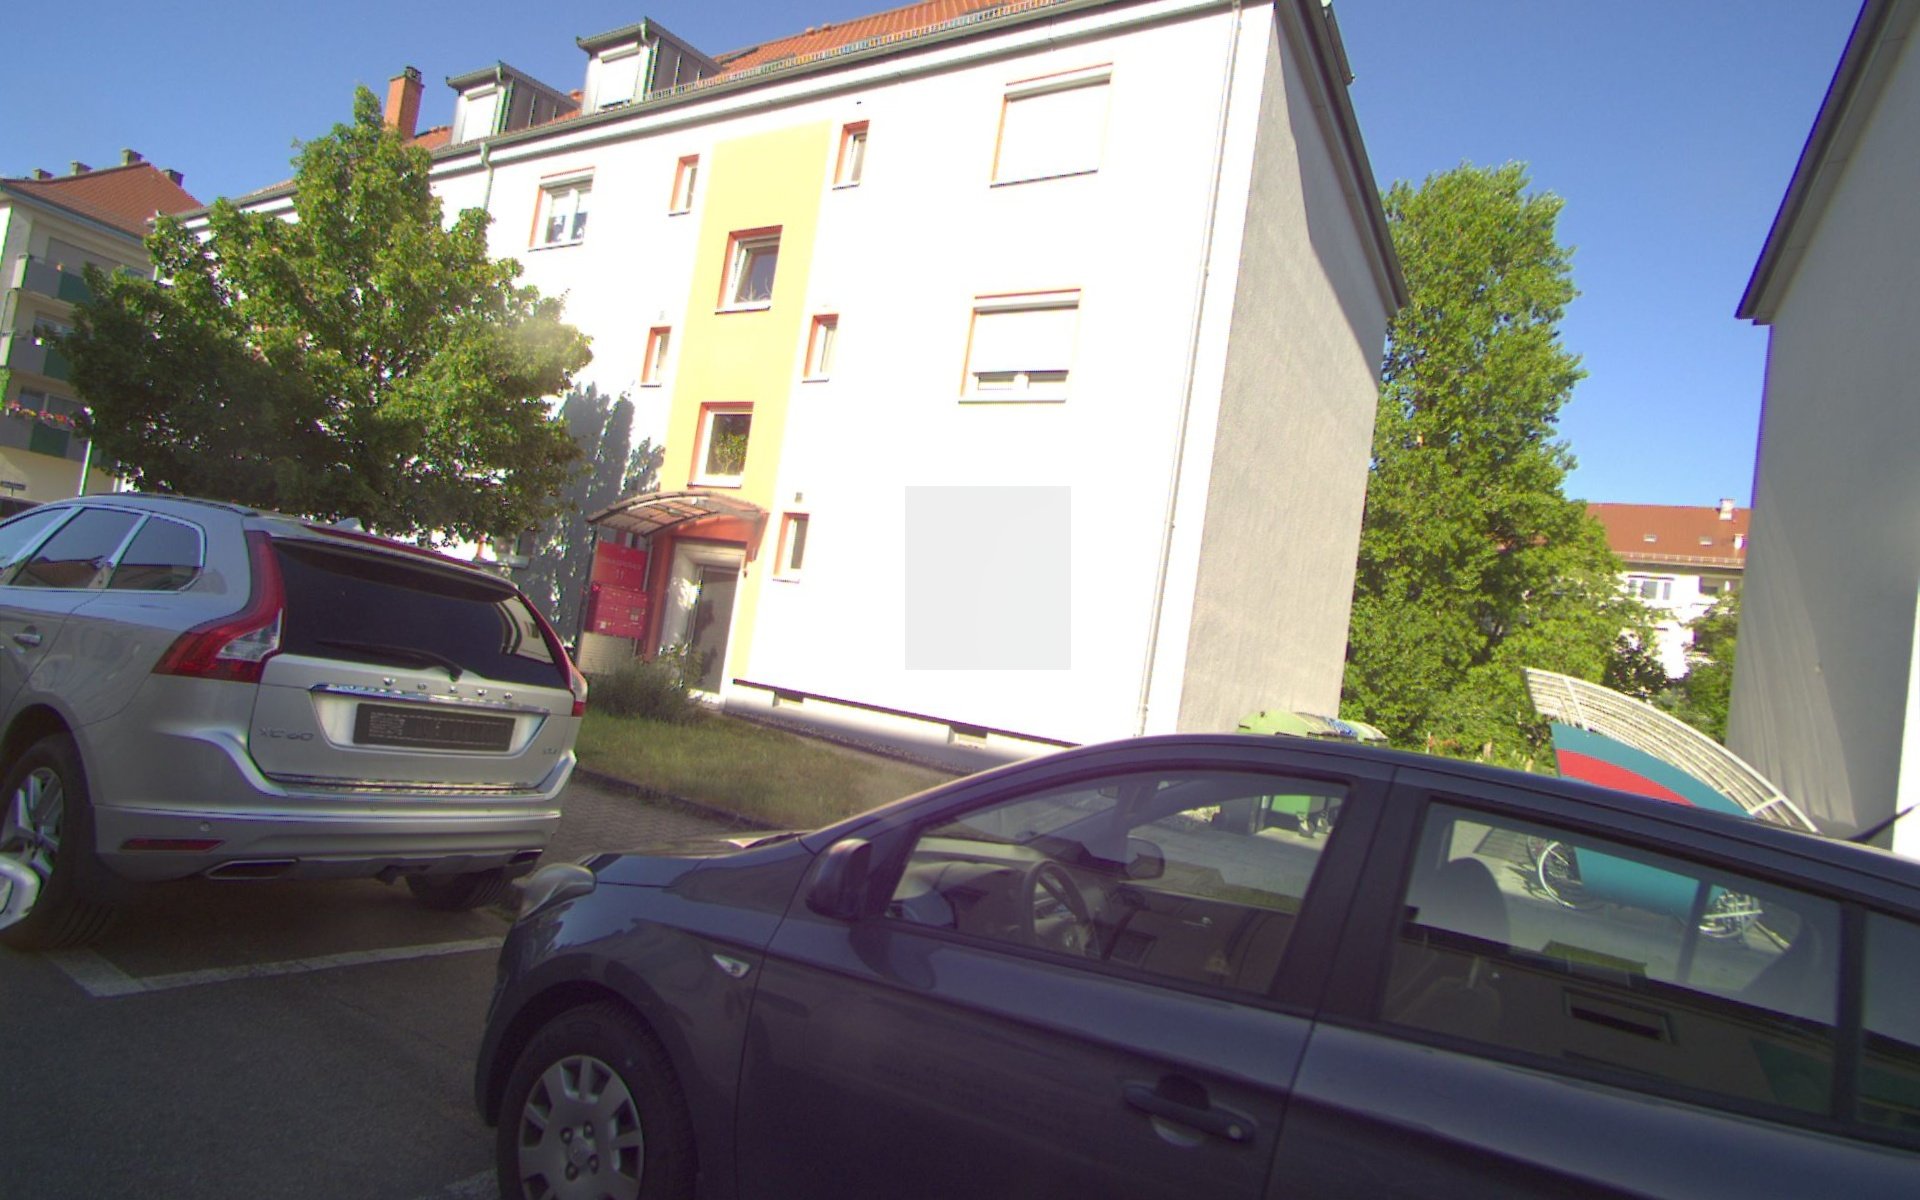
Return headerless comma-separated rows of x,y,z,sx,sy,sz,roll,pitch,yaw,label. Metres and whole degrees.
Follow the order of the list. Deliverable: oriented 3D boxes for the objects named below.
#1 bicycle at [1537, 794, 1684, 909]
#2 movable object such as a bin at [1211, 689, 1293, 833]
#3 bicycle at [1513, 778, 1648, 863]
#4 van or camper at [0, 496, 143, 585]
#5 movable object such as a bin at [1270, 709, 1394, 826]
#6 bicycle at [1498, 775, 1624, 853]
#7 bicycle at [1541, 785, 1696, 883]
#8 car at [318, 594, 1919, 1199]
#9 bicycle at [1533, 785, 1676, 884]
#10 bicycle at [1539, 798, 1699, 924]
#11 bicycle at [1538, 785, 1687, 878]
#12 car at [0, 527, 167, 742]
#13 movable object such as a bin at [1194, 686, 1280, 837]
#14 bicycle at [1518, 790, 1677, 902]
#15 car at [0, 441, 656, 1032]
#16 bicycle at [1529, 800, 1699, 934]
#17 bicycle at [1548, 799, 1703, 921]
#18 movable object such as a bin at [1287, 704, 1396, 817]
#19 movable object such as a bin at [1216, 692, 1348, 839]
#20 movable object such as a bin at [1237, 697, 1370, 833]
7.189,2.762,11.155,1.262,0.957,0.319,7,-1,34,bicycle
3.466,1.898,11.932,0.614,1.569,0.595,7,-2,32,movable object such as a bin
9.863,3.489,16.027,1.714,0.957,0.420,6,-2,40,bicycle
-27.934,-1.939,29.898,1.967,2.035,5.138,9,-3,32,van or camper
5.651,2.512,15.252,1.378,1.451,1.298,7,-3,32,movable object such as a bin
10.213,3.632,17.140,1.708,0.957,0.422,7,-1,23,bicycle
9.200,3.256,14.126,1.711,0.957,0.421,7,-1,33,bicycle
0.499,1.013,2.386,3.790,1.465,1.622,7,-3,28,car
8.499,3.081,13.313,1.484,0.957,0.319,7,-1,34,bicycle
6.684,2.632,10.248,1.262,0.957,0.319,7,-1,34,bicycle
9.499,3.353,14.703,1.711,0.957,0.421,7,-1,33,bicycle
-8.028,0.054,7.855,3.431,1.407,1.636,7,-7,32,car
3.143,1.814,11.401,0.614,1.569,0.595,7,-2,32,movable object such as a bin
7.517,2.883,11.906,1.484,0.957,0.319,7,-1,34,bicycle
-3.783,0.348,4.843,4.234,1.735,1.783,7,-6,30,car
6.271,2.540,9.695,1.262,0.957,0.319,7,-1,34,bicycle
7.005,2.716,10.630,1.262,0.957,0.319,7,-1,34,bicycle
6.289,2.620,16.578,1.317,1.568,1.125,7,-3,32,movable object such as a bin
4.083,2.057,12.685,1.126,1.568,1.298,7,-3,32,movable object such as a bin
4.756,2.242,13.883,1.317,1.568,1.298,7,-3,32,movable object such as a bin
